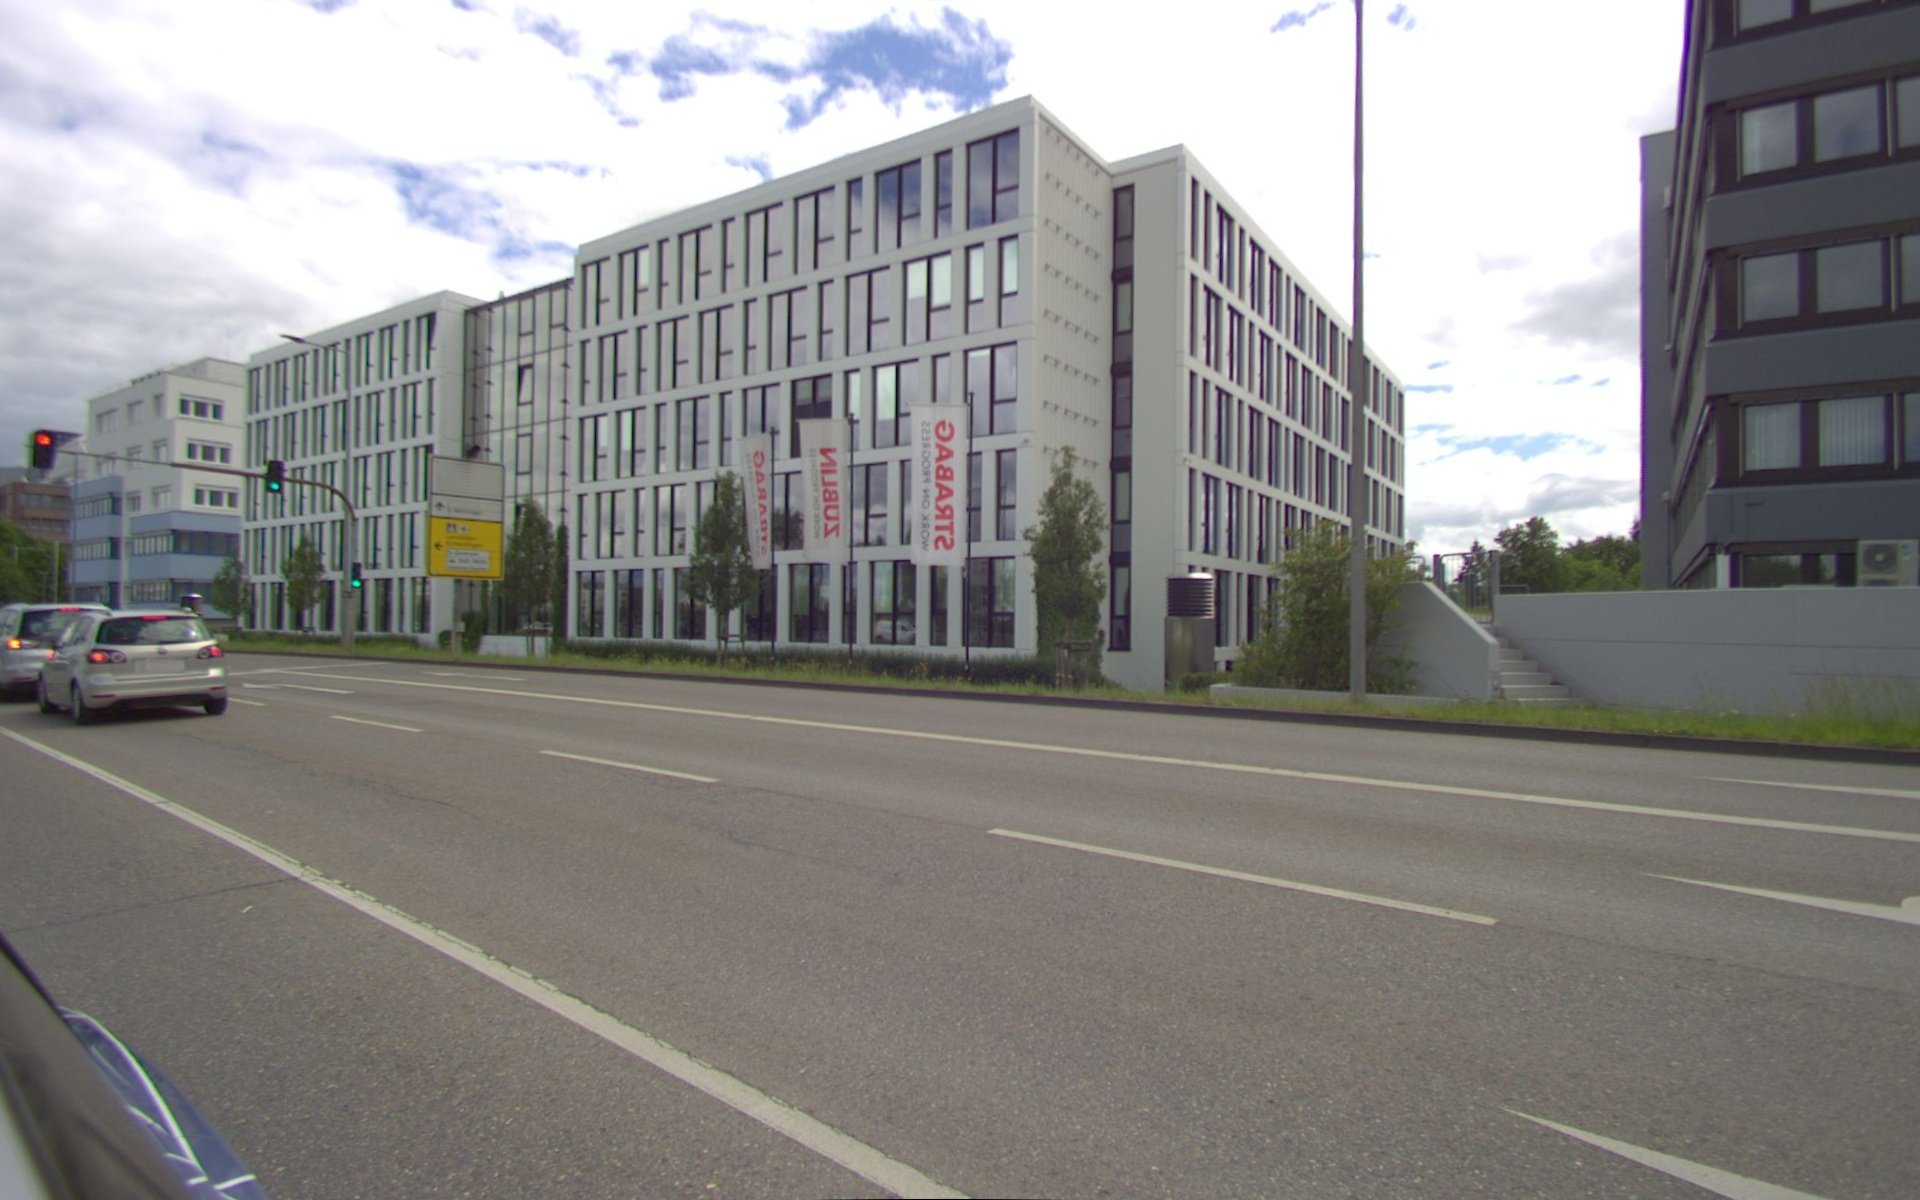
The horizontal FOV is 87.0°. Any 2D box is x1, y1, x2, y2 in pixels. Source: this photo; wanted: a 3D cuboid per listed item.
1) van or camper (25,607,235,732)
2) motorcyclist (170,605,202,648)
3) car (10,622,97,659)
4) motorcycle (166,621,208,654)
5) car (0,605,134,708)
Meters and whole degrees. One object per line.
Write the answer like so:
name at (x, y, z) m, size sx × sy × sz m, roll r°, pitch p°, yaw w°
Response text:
van or camper at (-12.543, 0.954, 15.215) m, size 4.042 × 1.622 × 1.726 m, roll -1°, pitch -1°, yaw 40°
motorcyclist at (-27.780, 0.931, 36.322) m, size 0.915 × 1.521 × 0.648 m, roll -1°, pitch -1°, yaw 35°
car at (-35.871, 1.573, 40.041) m, size 3.630 × 1.365 × 1.729 m, roll -1°, pitch -1°, yaw 34°
motorcycle at (-27.736, 1.331, 36.290) m, size 1.929 × 1.121 × 0.648 m, roll -1°, pitch -1°, yaw 35°
car at (-17.168, 0.985, 18.845) m, size 4.365 × 1.707 × 1.850 m, roll -1°, pitch -1°, yaw 38°
